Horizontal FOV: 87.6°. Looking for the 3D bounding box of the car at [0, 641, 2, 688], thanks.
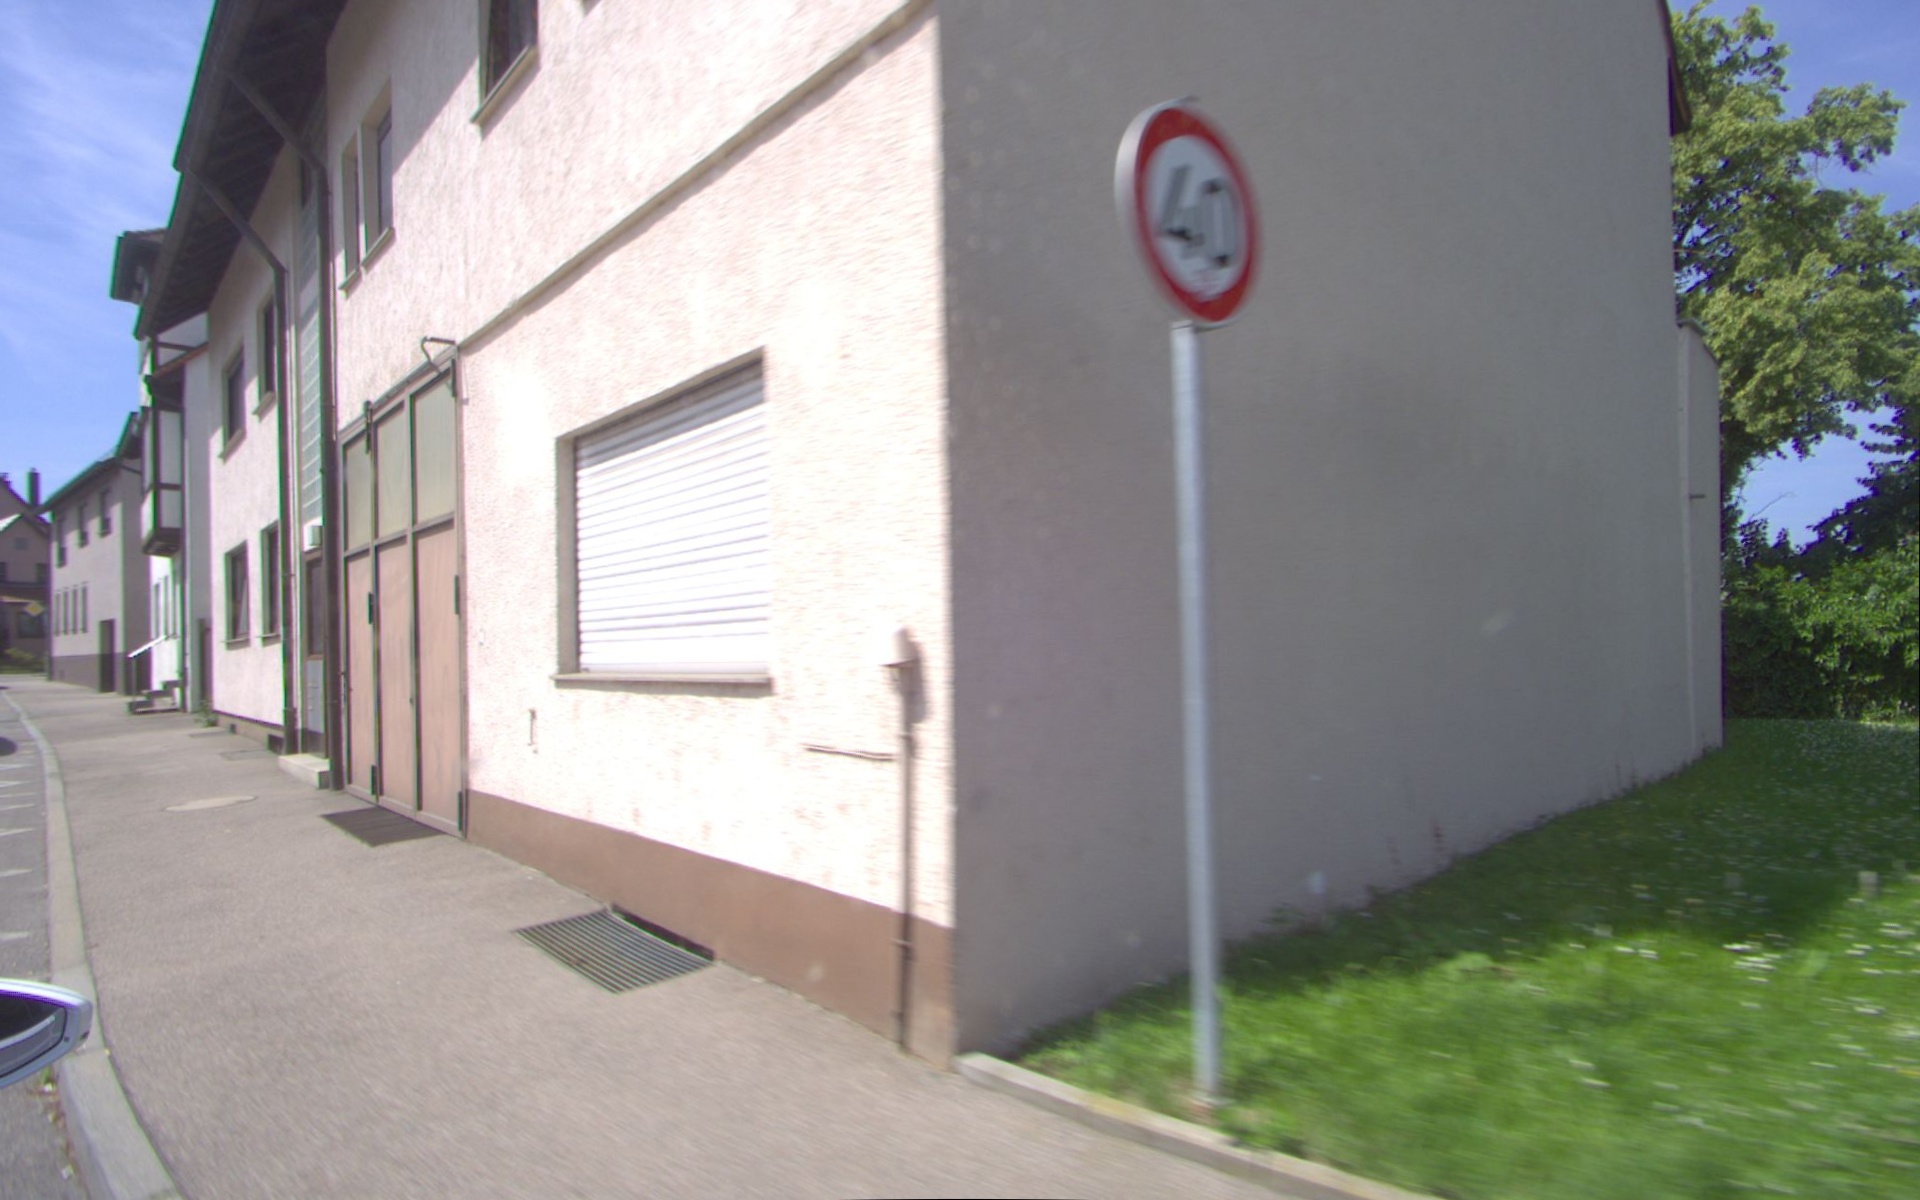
[{"bbox_3d":[-31.940,2.042,32.018,4.293,1.460,1.775,-2,-3,45],"label":"car"}]
